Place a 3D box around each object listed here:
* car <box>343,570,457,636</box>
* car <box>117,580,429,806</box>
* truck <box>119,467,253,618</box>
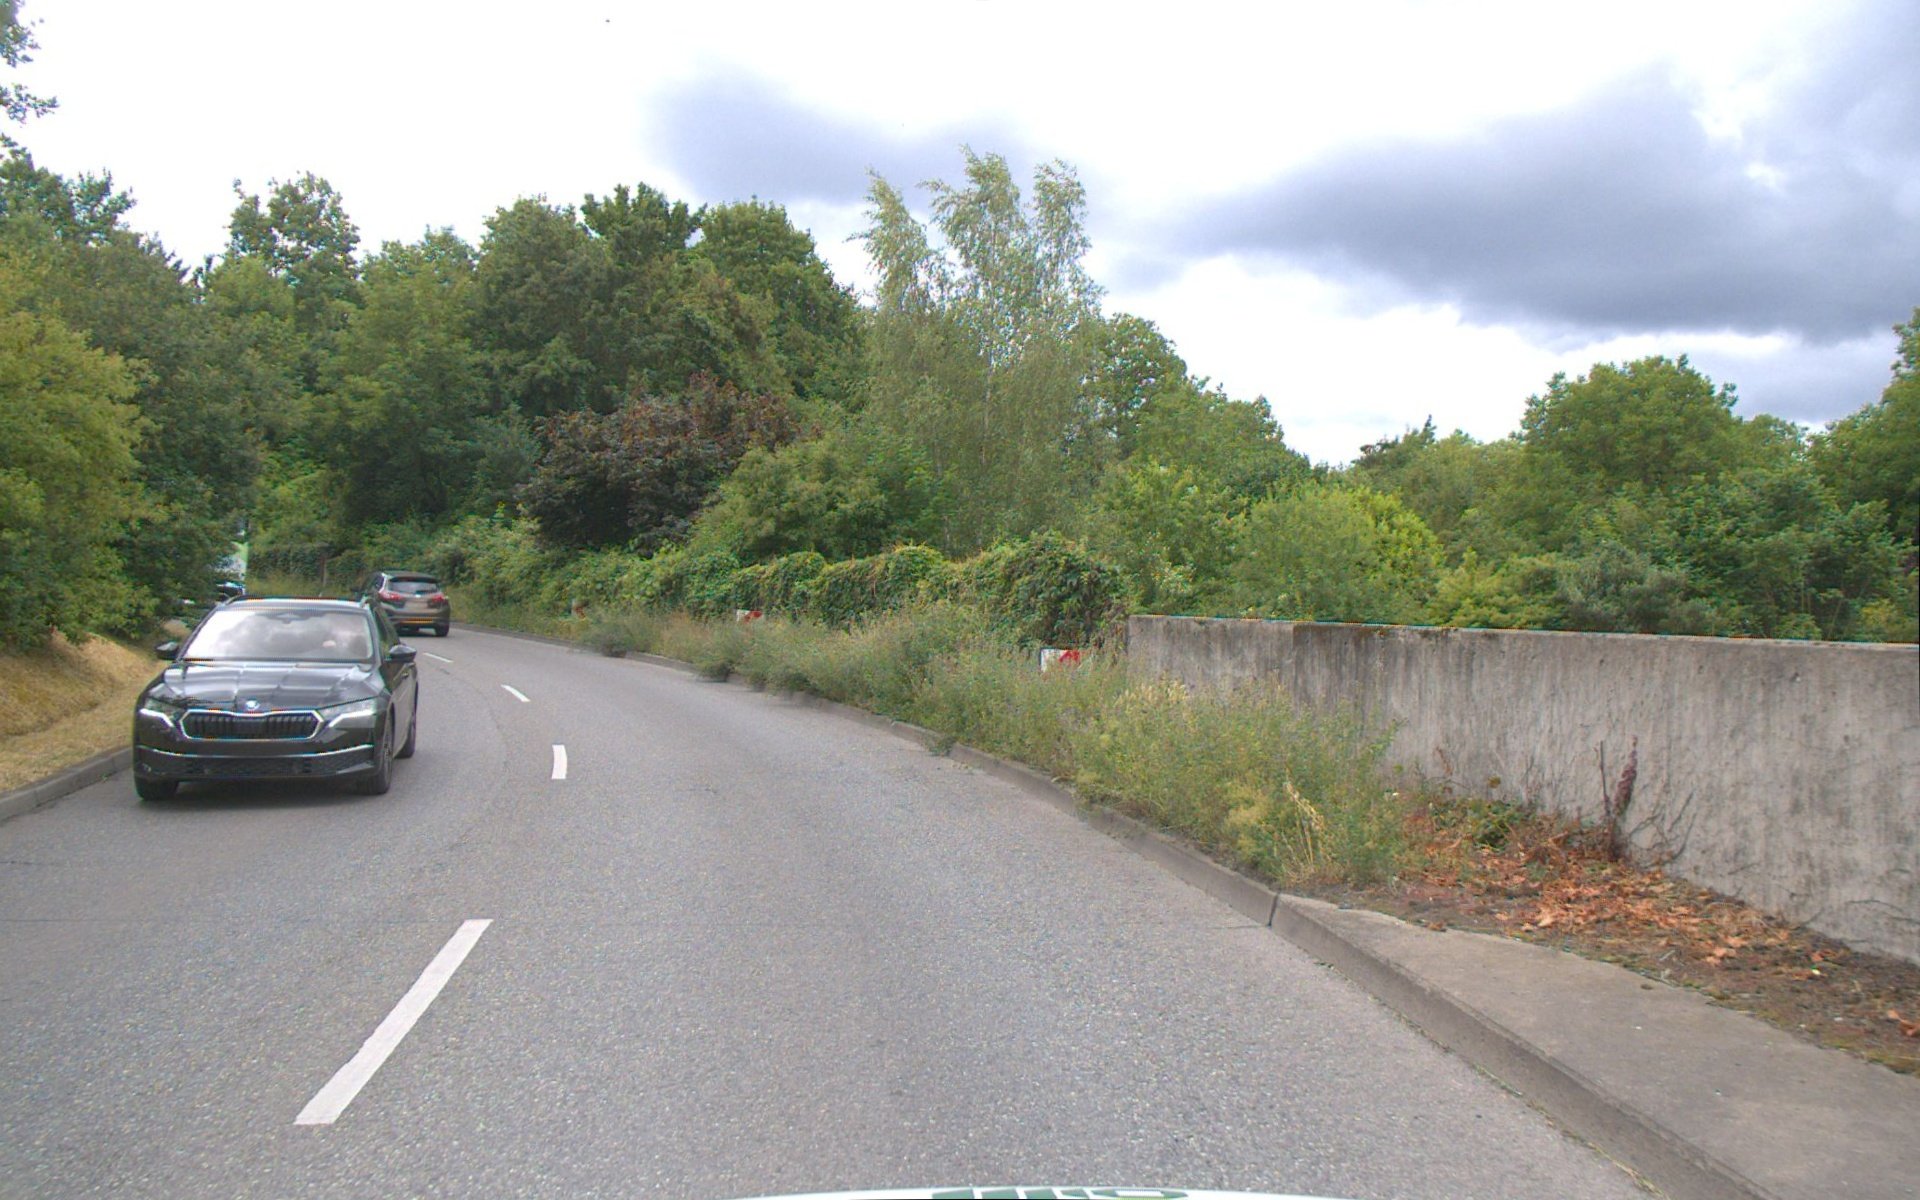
[{"bbox_3d":[-13.815,0.084,40.685,1.822,1.509,3.956,-1,0,-32],"label":"car"},{"bbox_3d":[-5.442,0.669,13.631,1.708,1.521,4.418,-1,-1,-14],"label":"car"},{"bbox_3d":[-22.234,-1.498,47.355,2.679,4.020,6.258,1,-1,-33],"label":"truck"}]
